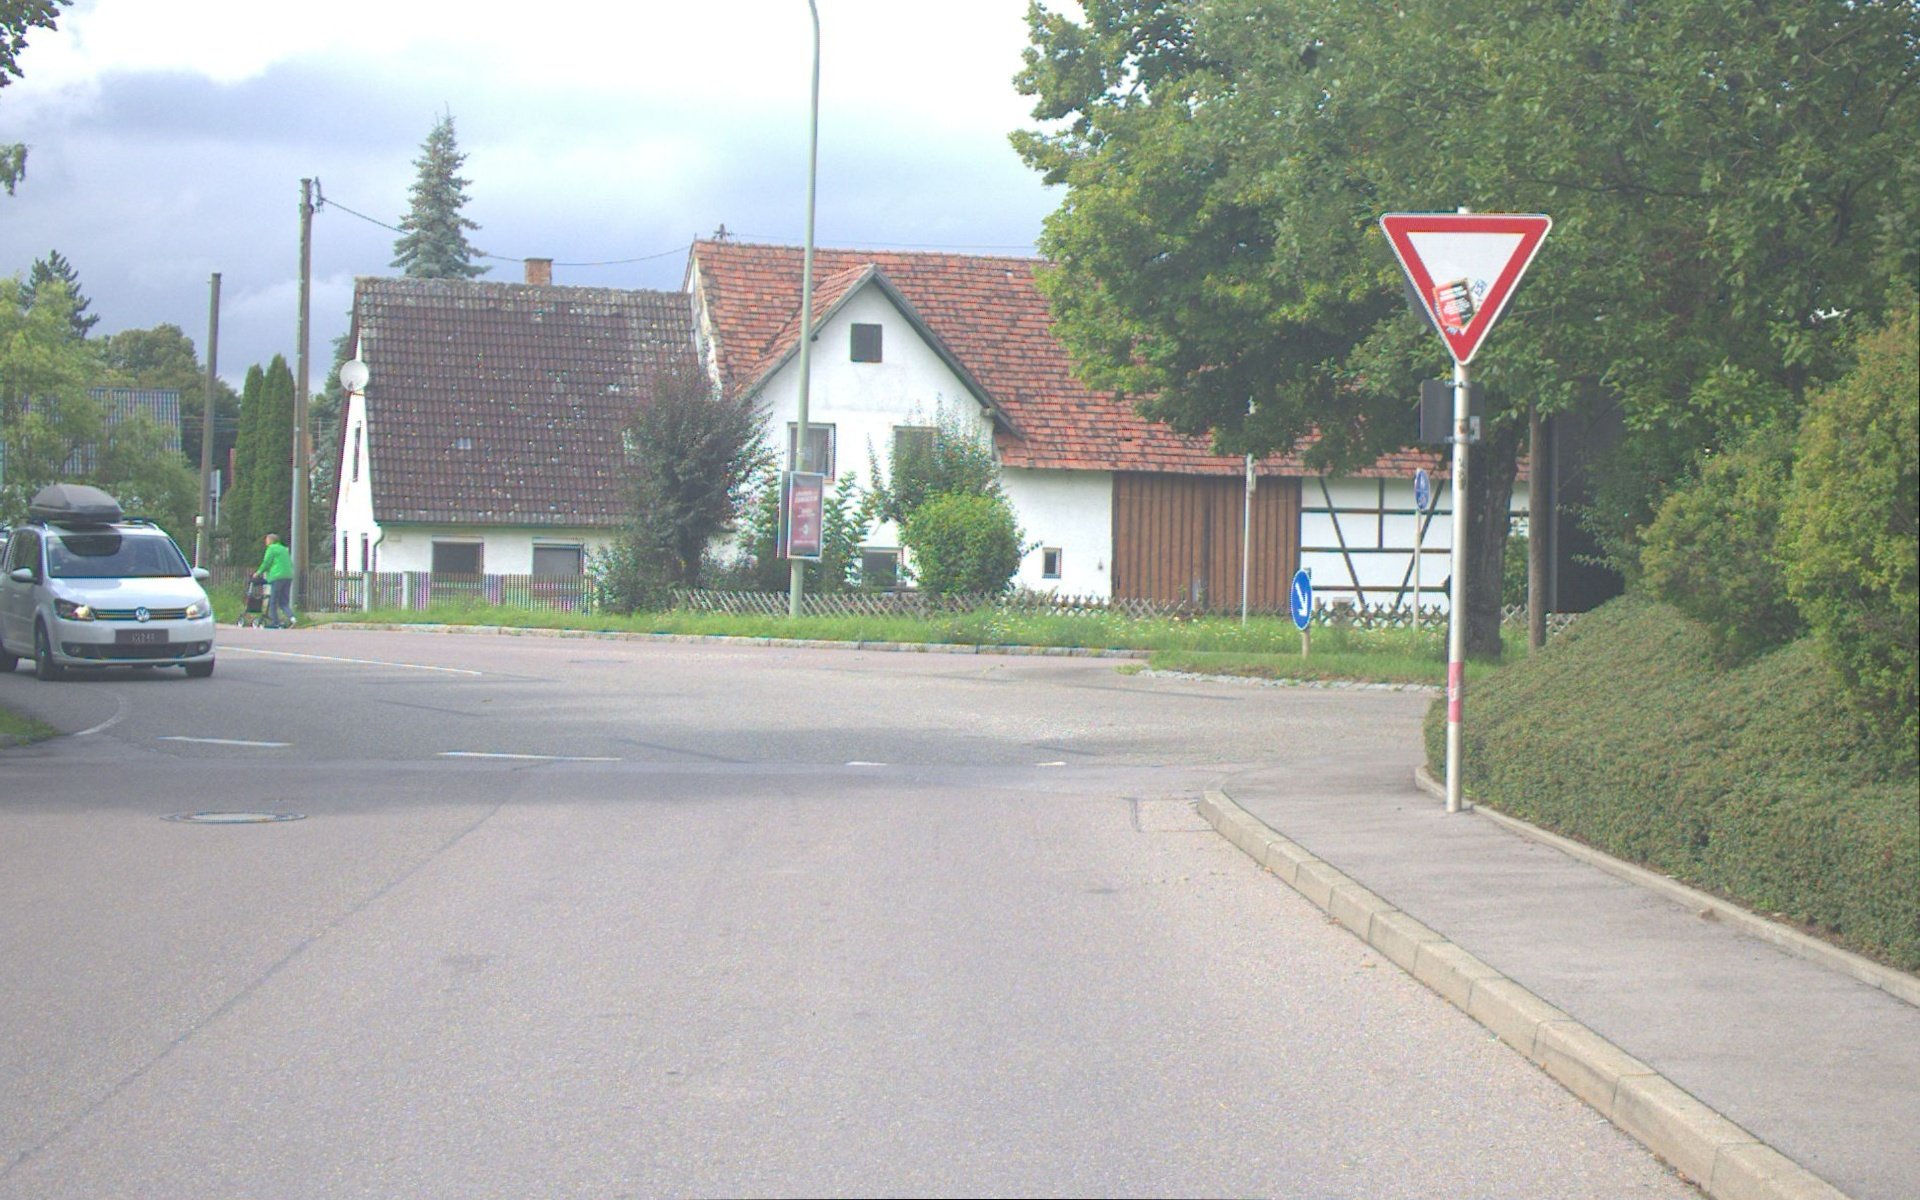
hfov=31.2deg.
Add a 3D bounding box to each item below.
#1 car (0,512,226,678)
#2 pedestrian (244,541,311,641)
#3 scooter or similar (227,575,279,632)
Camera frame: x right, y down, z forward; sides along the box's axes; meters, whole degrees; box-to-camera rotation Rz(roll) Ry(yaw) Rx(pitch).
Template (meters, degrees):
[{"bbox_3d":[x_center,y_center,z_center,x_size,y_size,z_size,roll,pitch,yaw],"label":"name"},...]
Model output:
[{"bbox_3d":[-9.144,-0.082,36.612,1.698,1.659,4.033,0,1,-26],"label":"car"},{"bbox_3d":[-11.902,-0.163,59.952,0.788,1.659,0.712,6,-2,-34],"label":"pedestrian"},{"bbox_3d":[-12.441,0.063,60.479,0.630,0.945,0.622,6,-2,-34],"label":"scooter or similar"}]
